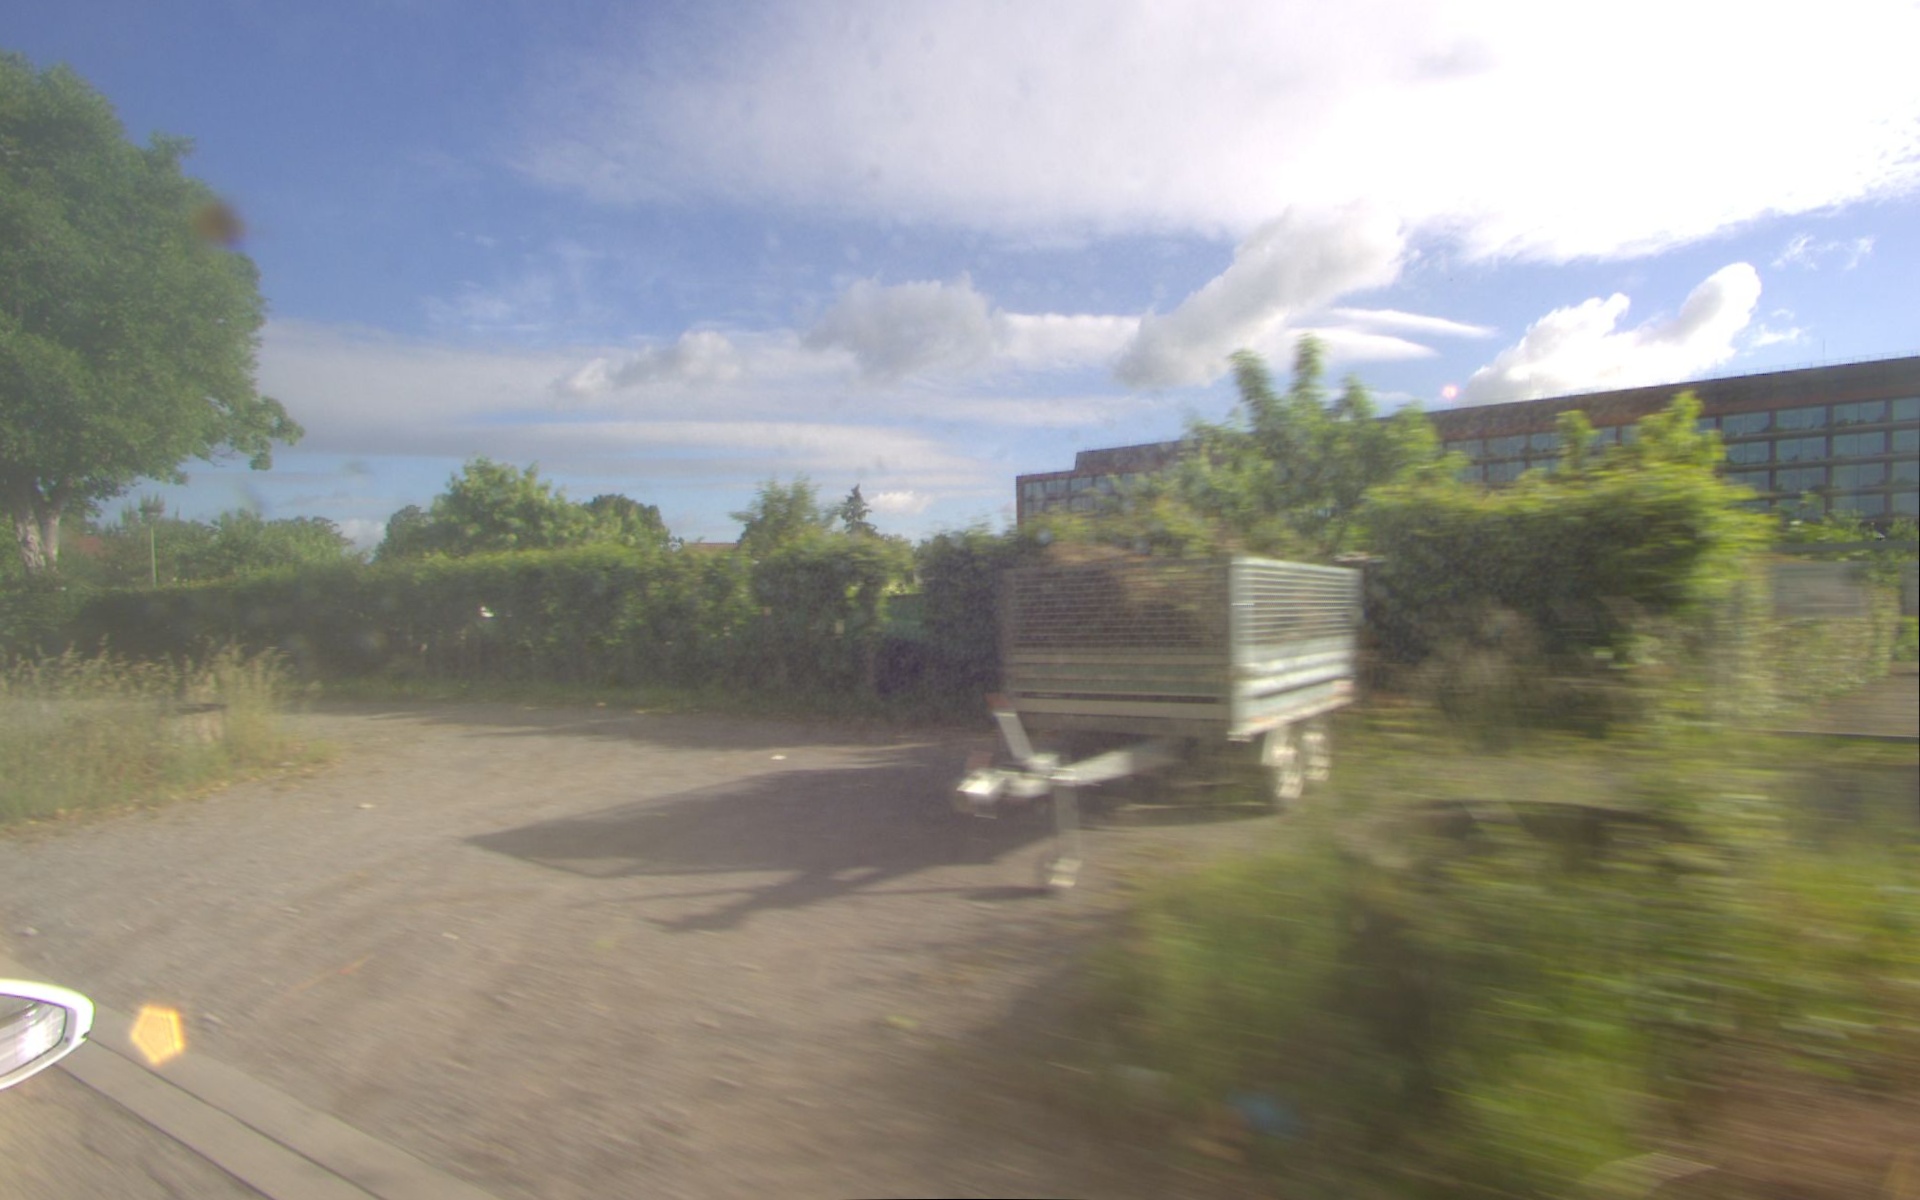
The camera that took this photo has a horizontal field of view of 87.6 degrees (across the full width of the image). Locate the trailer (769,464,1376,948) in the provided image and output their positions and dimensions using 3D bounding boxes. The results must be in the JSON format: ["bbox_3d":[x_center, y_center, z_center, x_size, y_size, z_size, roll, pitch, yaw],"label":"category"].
[{"bbox_3d":[1.034,0.376,6.083,1.891,1.860,4.138,0,1,35],"label":"trailer"}]
